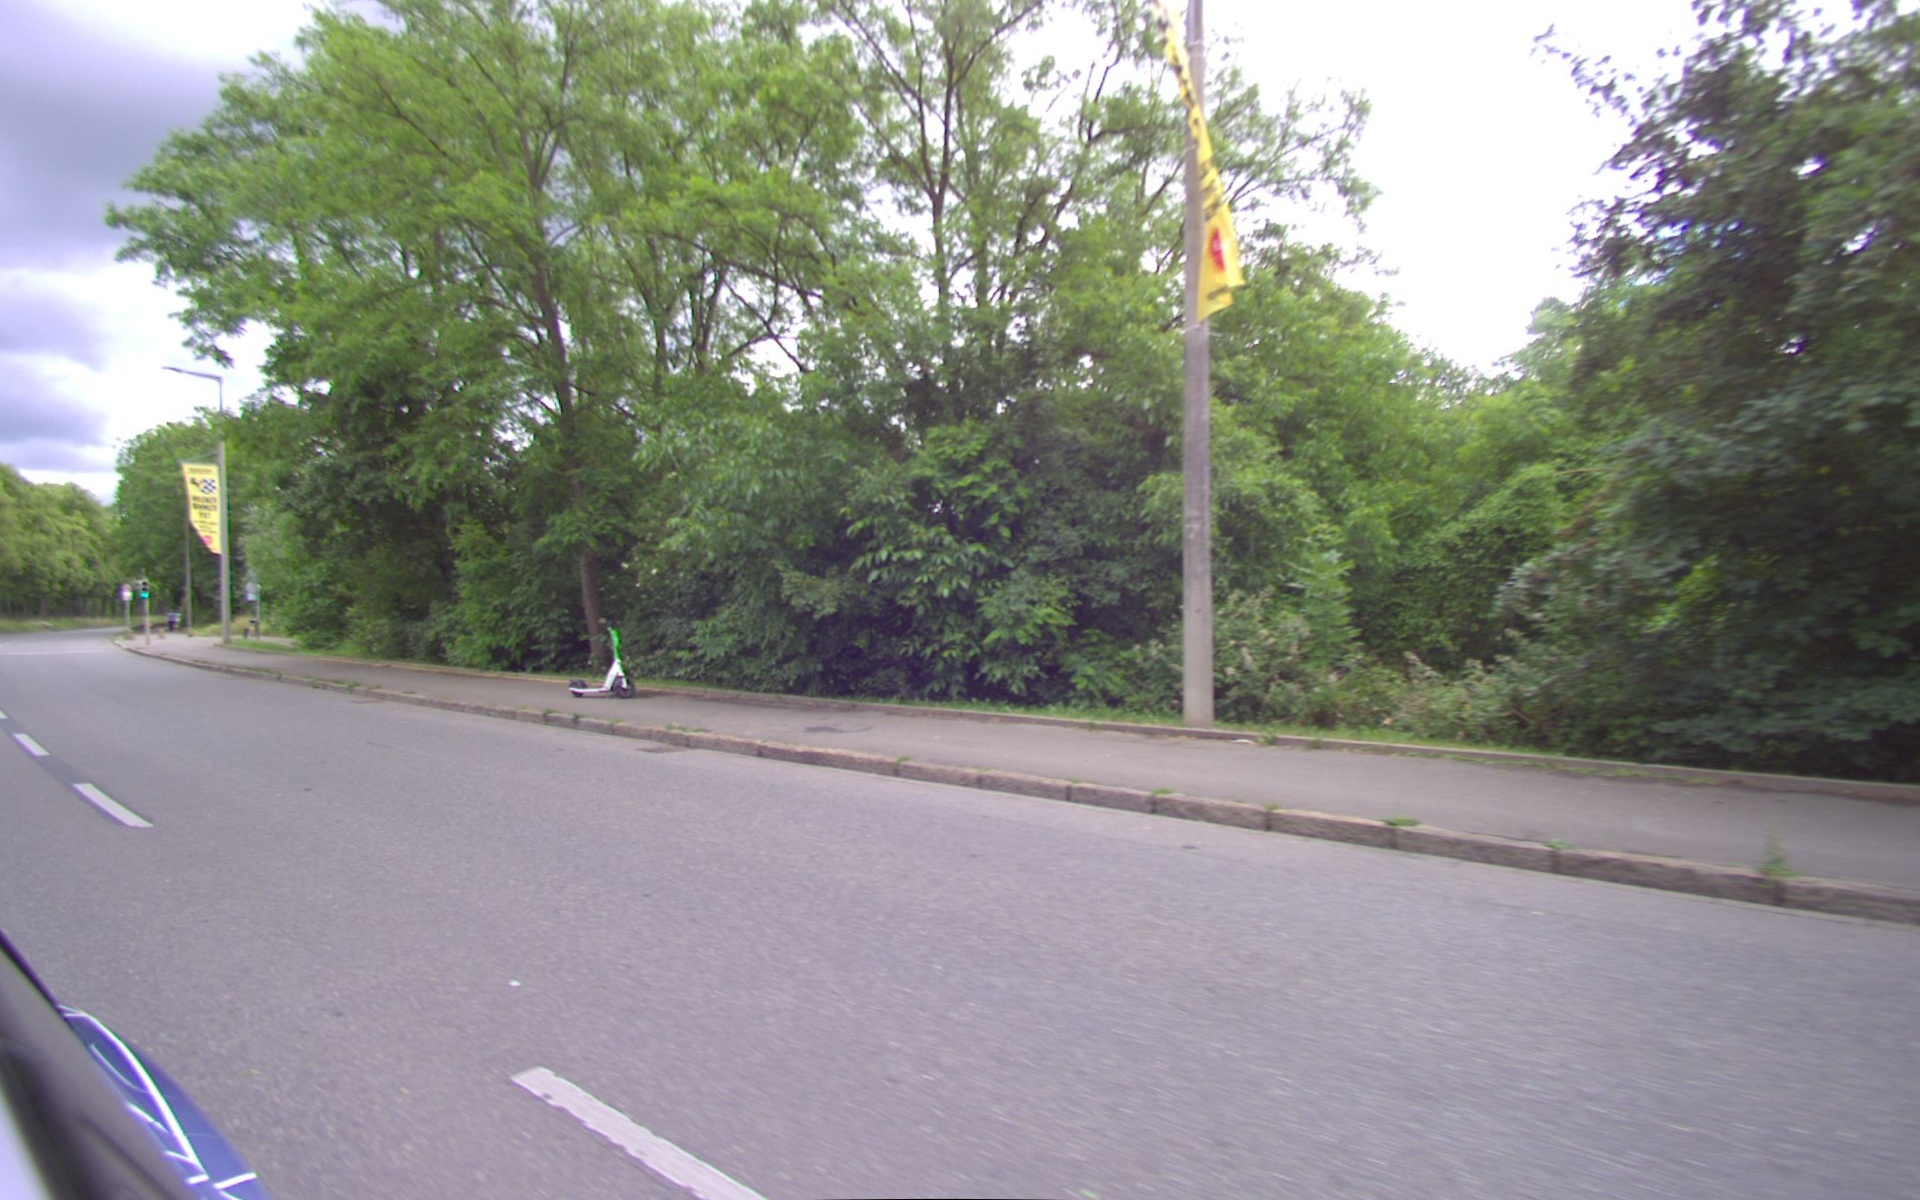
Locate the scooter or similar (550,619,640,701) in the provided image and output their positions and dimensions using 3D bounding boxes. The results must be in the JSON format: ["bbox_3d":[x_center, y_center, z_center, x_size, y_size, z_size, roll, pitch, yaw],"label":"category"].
[{"bbox_3d":[-5.511,0.905,15.281,1.286,1.193,0.364,-2,0,17],"label":"scooter or similar"}]

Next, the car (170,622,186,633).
[{"bbox_3d":[-116.049,4.073,150.087,1.751,1.450,4.369,0,-1,-39],"label":"car"}]
